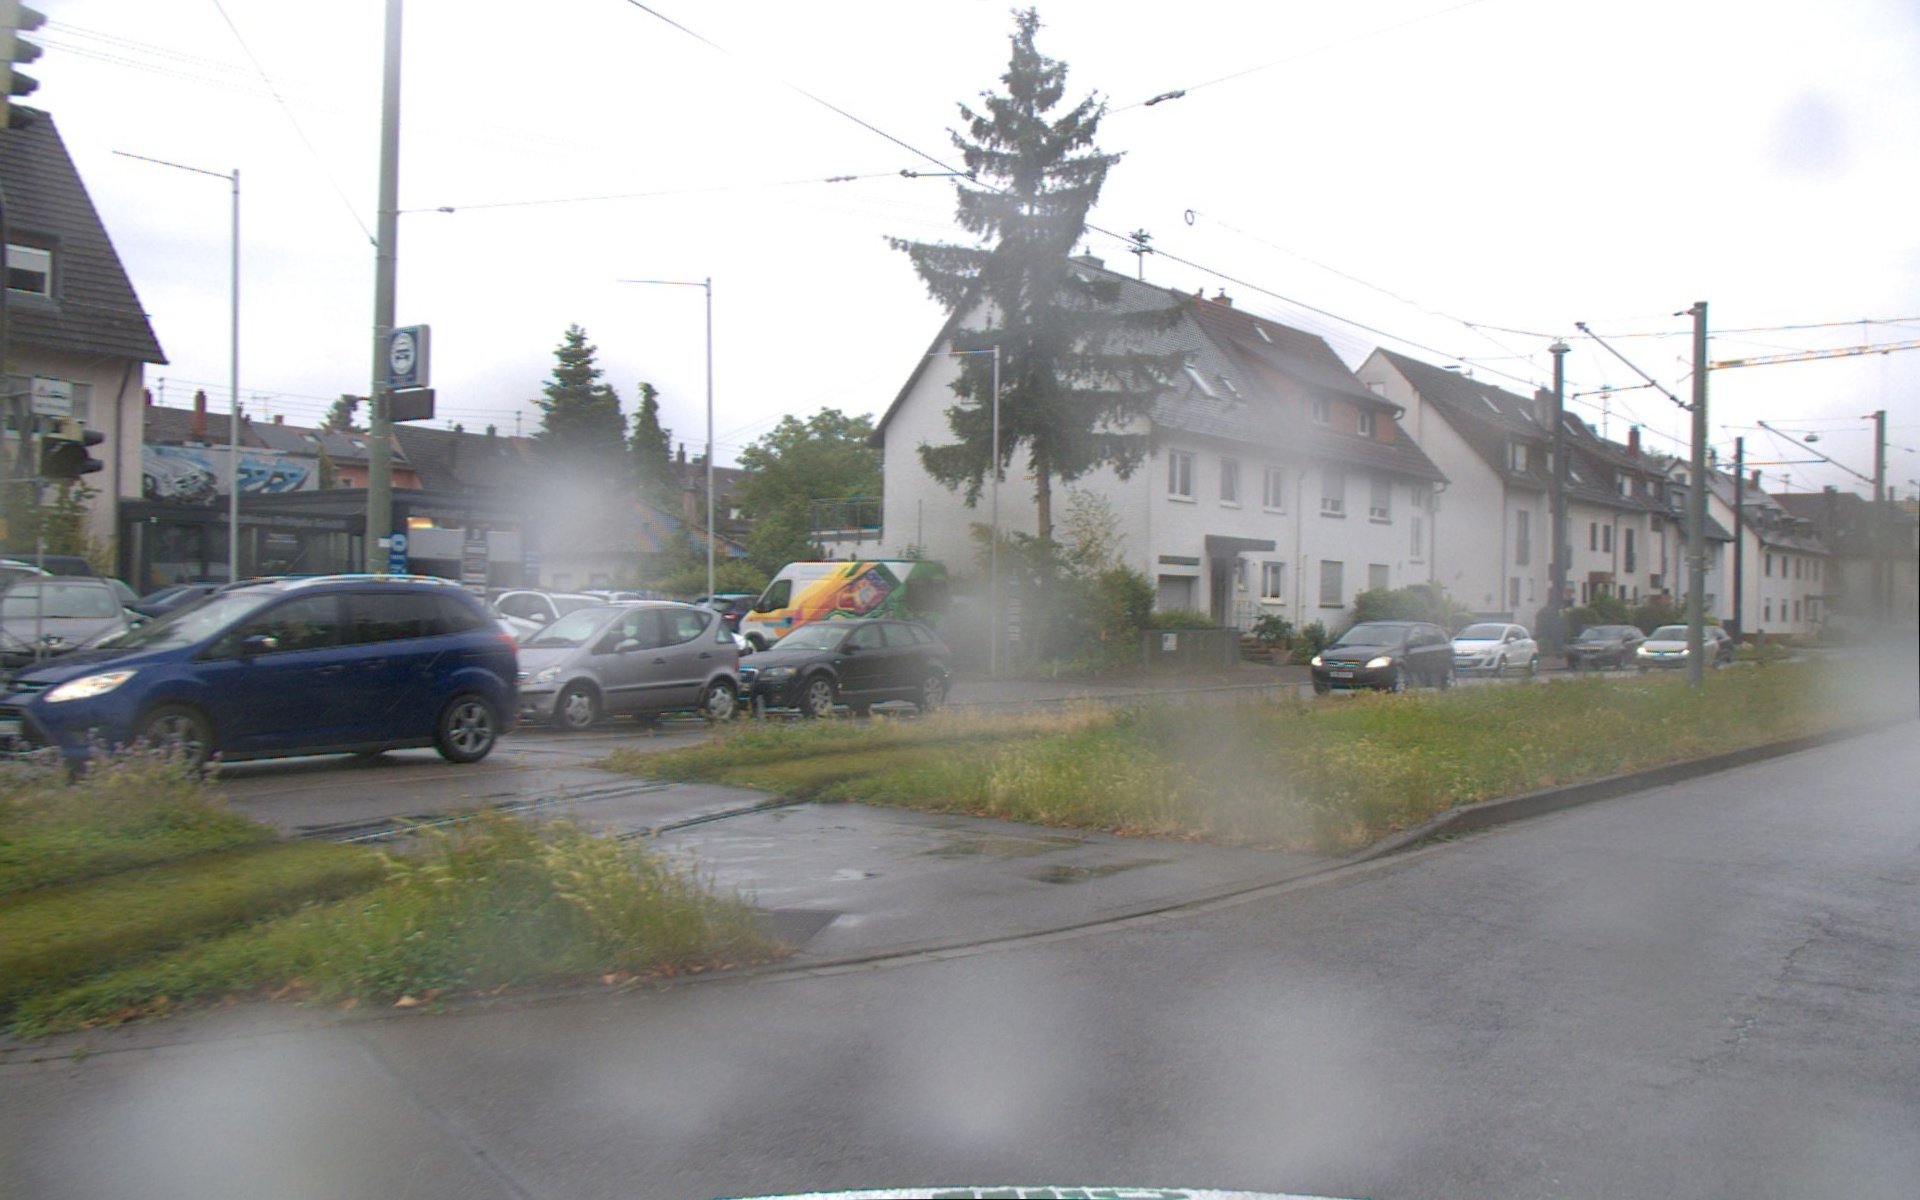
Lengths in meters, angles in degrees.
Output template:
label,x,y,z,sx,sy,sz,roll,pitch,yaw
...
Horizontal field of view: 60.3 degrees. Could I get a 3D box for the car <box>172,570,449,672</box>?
label,x,y,z,sx,sy,sz,roll,pitch,yaw
car,-11.712,0.384,30.057,1.727,1.717,4.424,-1,-1,40

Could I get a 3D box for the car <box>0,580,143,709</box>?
label,x,y,z,sx,sy,sz,roll,pitch,yaw
car,-12.097,0.576,22.118,1.803,1.531,4.028,3,-2,-23

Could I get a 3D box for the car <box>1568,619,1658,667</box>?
label,x,y,z,sx,sy,sz,roll,pitch,yaw
car,22.025,1.480,55.659,1.575,1.448,4.645,1,-2,38

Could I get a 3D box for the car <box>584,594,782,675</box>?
label,x,y,z,sx,sy,sz,roll,pitch,yaw
car,-5.337,0.644,31.618,3.773,1.420,1.713,0,-3,41

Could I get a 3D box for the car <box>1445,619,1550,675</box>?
label,x,y,z,sx,sy,sz,roll,pitch,yaw
car,15.263,1.347,46.848,1.575,1.448,3.925,1,-2,38

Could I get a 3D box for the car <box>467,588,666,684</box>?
label,x,y,z,sx,sy,sz,roll,pitch,yaw
car,-7.101,0.624,29.731,3.552,1.601,1.712,0,-3,42

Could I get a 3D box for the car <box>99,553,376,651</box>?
label,x,y,z,sx,sy,sz,roll,pitch,yaw
car,-13.621,0.056,31.389,1.963,1.717,4.424,-1,-1,40

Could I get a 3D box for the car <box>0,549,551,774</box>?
label,x,y,z,sx,sy,sz,roll,pitch,yaw
car,-6.031,0.547,14.450,1.960,1.634,4.554,1,-2,36

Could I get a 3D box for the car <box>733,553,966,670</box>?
label,x,y,z,sx,sy,sz,roll,pitch,yaw
car,-2.530,0.253,37.205,5.049,2.448,2.142,1,-2,38

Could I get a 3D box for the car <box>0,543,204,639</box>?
label,x,y,z,sx,sy,sz,roll,pitch,yaw
car,-16.948,-0.145,31.276,1.963,1.717,4.424,-1,-1,40

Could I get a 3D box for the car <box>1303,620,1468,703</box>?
label,x,y,z,sx,sy,sz,roll,pitch,yaw
car,8.572,1.253,33.125,1.709,1.512,3.980,0,-3,39

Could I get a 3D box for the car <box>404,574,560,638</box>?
label,x,y,z,sx,sy,sz,roll,pitch,yaw
car,-12.410,0.153,42.875,3.919,1.524,1.780,1,-2,35

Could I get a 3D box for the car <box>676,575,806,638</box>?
label,x,y,z,sx,sy,sz,roll,pitch,yaw
car,-5.762,0.189,44.111,1.820,1.608,4.402,0,-1,16

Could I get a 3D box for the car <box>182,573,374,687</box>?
label,x,y,z,sx,sy,sz,roll,pitch,yaw
car,-10.276,0.447,24.766,1.812,1.531,4.009,3,-2,-34

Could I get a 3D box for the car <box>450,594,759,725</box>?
label,x,y,z,sx,sy,sz,roll,pitch,yaw
car,-4.521,0.787,21.423,1.690,1.531,3.625,1,-3,39

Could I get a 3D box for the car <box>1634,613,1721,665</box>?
label,x,y,z,sx,sy,sz,roll,pitch,yaw
car,22.304,1.231,51.335,1.575,1.448,3.802,1,-3,38

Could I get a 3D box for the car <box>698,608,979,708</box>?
label,x,y,z,sx,sy,sz,roll,pitch,yaw
car,-1.731,0.904,24.993,1.690,1.362,4.366,1,-3,39

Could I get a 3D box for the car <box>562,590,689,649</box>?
label,x,y,z,sx,sy,sz,roll,pitch,yaw
car,-9.598,0.555,47.812,1.750,1.608,4.449,0,-1,16

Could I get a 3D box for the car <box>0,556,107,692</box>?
label,x,y,z,sx,sy,sz,roll,pitch,yaw
car,-15.669,0.364,25.129,1.963,2.049,4.424,-1,-1,40

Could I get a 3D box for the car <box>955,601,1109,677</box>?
label,x,y,z,sx,sy,sz,roll,pitch,yaw
car,1.819,0.912,40.895,1.961,1.592,3.879,1,3,37

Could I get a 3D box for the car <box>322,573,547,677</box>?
label,x,y,z,sx,sy,sz,roll,pitch,yaw
car,-8.719,0.364,27.347,3.799,1.606,1.798,1,0,40
